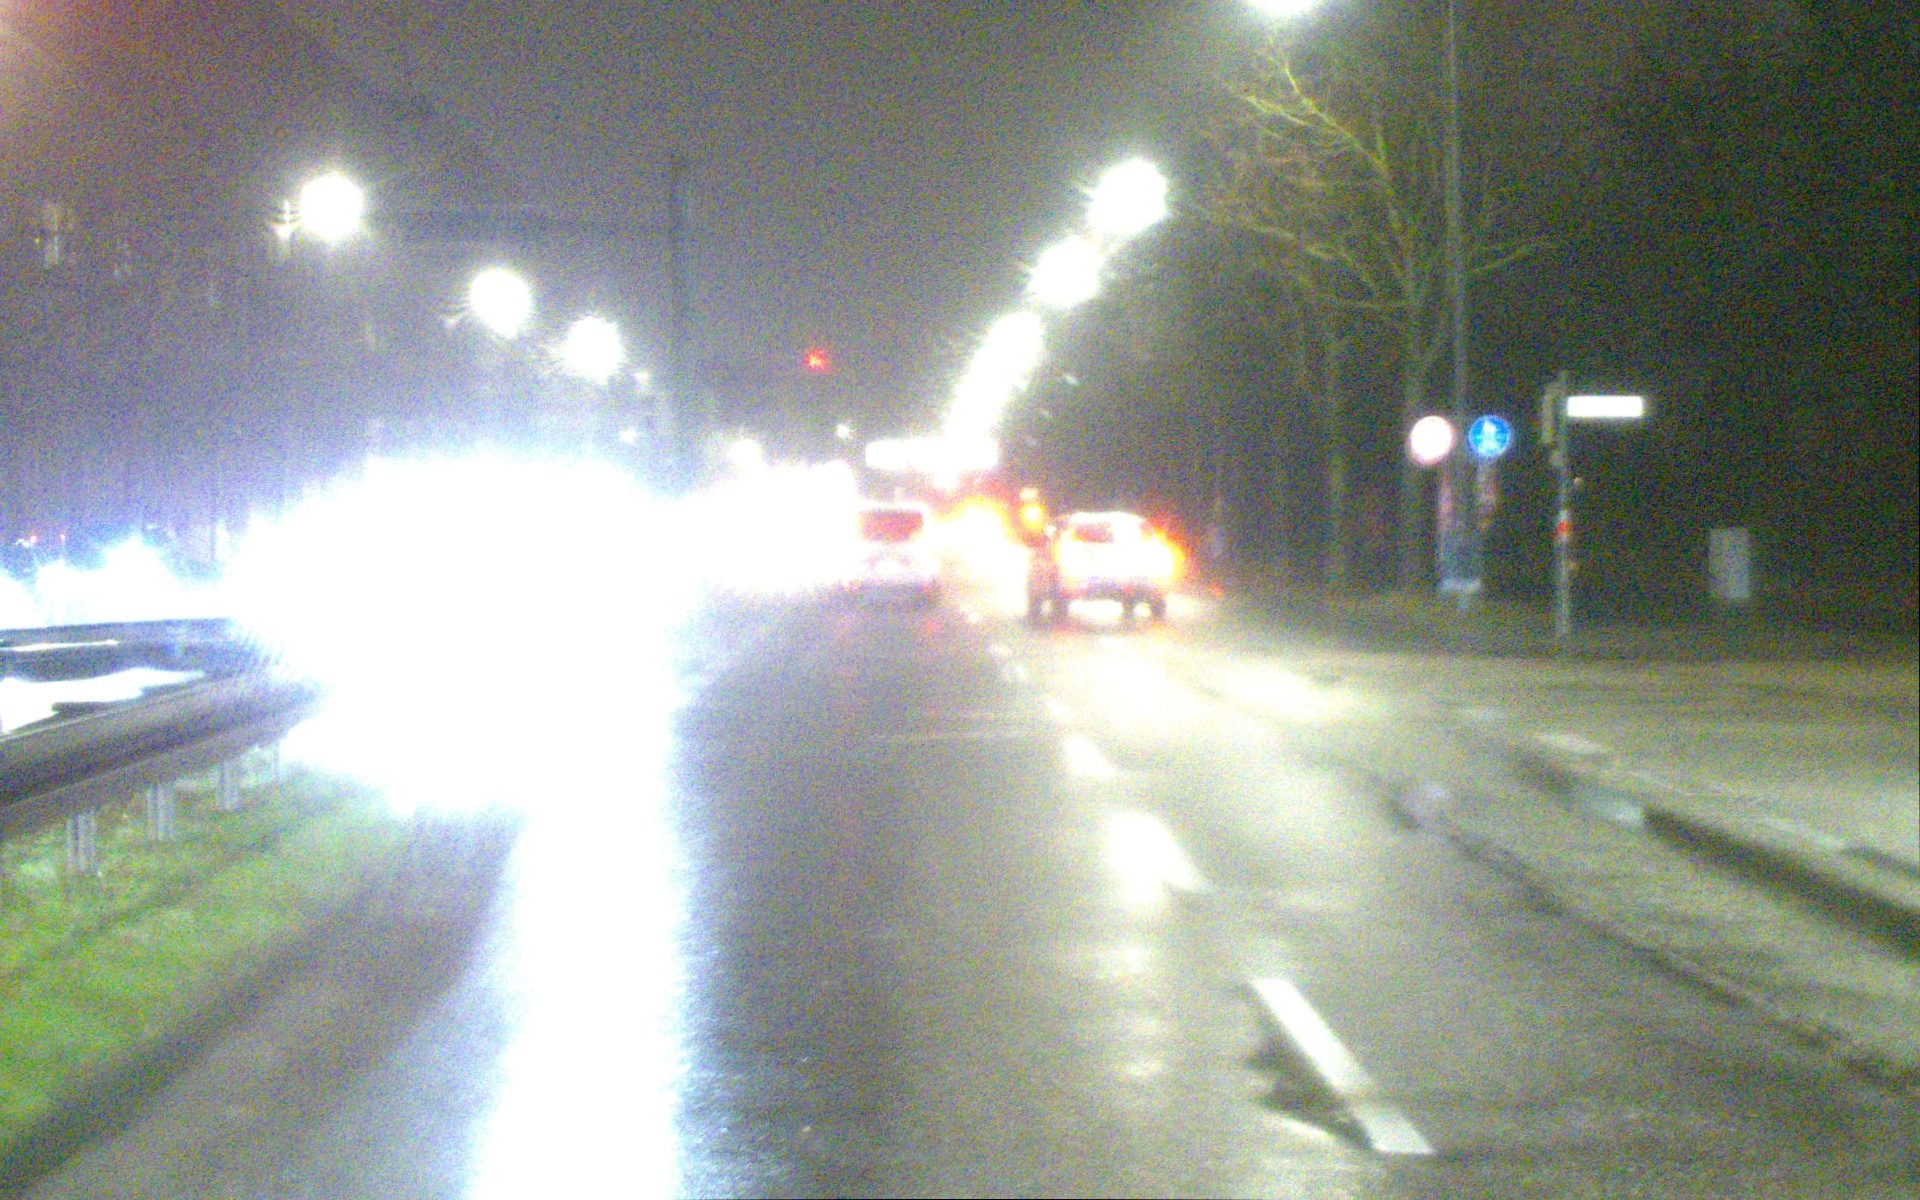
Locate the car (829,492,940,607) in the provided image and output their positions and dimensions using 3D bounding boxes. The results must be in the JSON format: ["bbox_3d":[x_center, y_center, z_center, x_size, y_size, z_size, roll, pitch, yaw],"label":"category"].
[{"bbox_3d":[-1.283,-0.850,58.764,1.791,1.868,4.627,1,1,-1],"label":"car"}]

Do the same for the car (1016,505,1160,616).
[{"bbox_3d":[1.995,-0.621,54.824,1.790,1.673,4.429,1,1,-4],"label":"car"}]

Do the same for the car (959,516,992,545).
[{"bbox_3d":[0.993,-4.449,220.745,1.993,1.753,4.000,1,1,-1],"label":"car"}]
